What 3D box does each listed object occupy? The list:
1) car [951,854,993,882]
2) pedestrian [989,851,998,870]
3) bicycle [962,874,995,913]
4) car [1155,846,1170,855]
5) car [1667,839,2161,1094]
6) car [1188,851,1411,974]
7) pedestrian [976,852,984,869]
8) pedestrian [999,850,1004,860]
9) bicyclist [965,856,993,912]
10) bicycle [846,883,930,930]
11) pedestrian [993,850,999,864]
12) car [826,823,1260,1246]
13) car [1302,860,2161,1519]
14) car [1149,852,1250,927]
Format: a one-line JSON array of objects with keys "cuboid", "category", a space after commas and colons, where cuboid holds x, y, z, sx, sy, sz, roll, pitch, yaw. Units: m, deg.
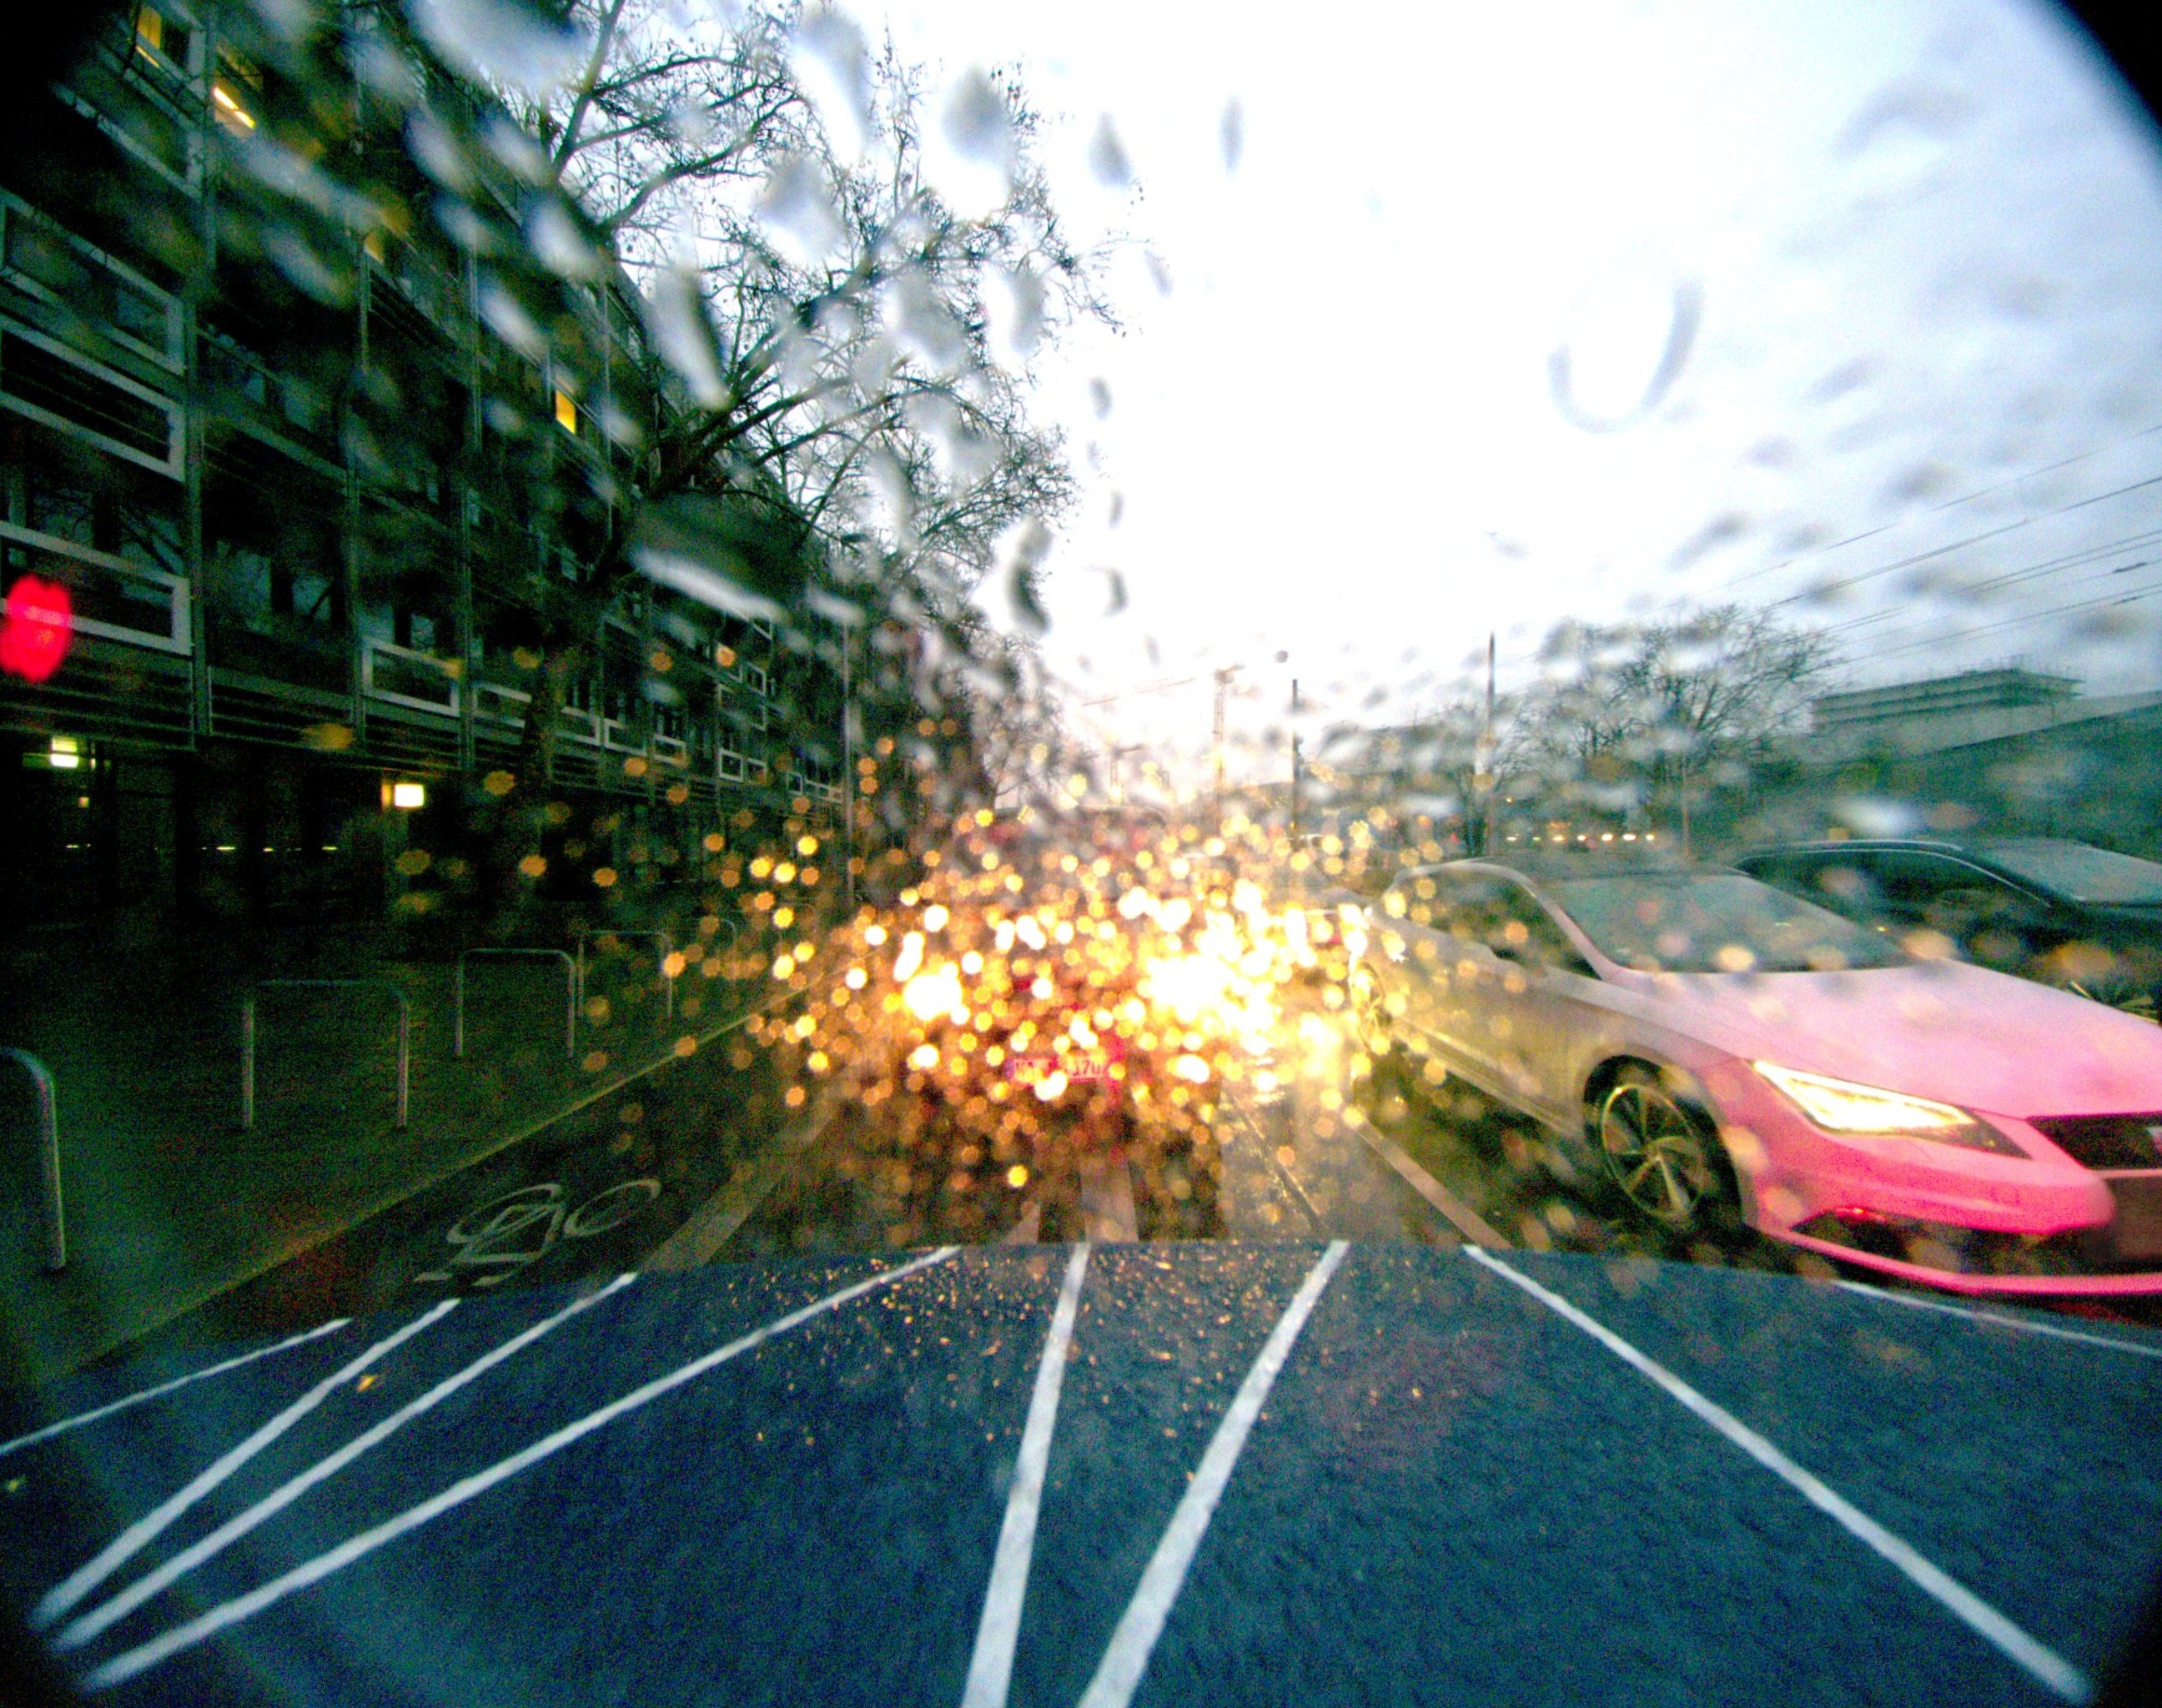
[{"cuboid": [-6.160, 0.773, 43.363, 1.713, 1.455, 3.999, -2, 1, 1], "category": "car"}, {"cuboid": [-8.158, 0.626, 70.722, 0.766, 1.740, 0.928, 0, 1, -4], "category": "pedestrian"}, {"cuboid": [-3.127, 1.181, 23.263, 0.710, 1.088, 1.784, -1, 0, 1], "category": "bicycle"}, {"cuboid": [16.259, -0.739, 152.050, 2.095, 1.884, 3.997, -1, 1, -7], "category": "car"}, {"cuboid": [7.357, 0.651, 5.976, 1.853, 1.499, 4.662, -1, 1, -1], "category": "car"}, {"cuboid": [2.991, 0.701, 11.528, 1.999, 1.478, 4.505, -1, 0, -1], "category": "car"}, {"cuboid": [-9.954, 0.637, 74.884, 0.766, 1.740, 0.928, 0, 1, -4], "category": "pedestrian"}, {"cuboid": [-14.196, 0.134, 135.723, 0.766, 1.740, 0.928, 0, 1, -4], "category": "pedestrian"}, {"cuboid": [-3.121, 0.897, 23.272, 0.704, 1.650, 0.964, -1, 0, 1], "category": "bicyclist"}, {"cuboid": [-4.457, 1.207, 17.653, 1.704, 0.987, 0.879, 1, 1, 0], "category": "bicycle"}, {"cuboid": [-11.423, 0.405, 101.862, 0.766, 1.740, 0.928, 0, 1, -4], "category": "pedestrian"}, {"cuboid": [-0.180, 0.792, 5.413, 1.878, 1.830, 3.999, -2, 1, -1], "category": "car"}, {"cuboid": [2.984, 0.839, 4.160, 1.949, 1.478, 4.504, -2, 0, -4], "category": "car"}, {"cuboid": [2.841, 0.796, 19.098, 1.907, 1.565, 3.999, -2, 1, 1], "category": "car"}]
